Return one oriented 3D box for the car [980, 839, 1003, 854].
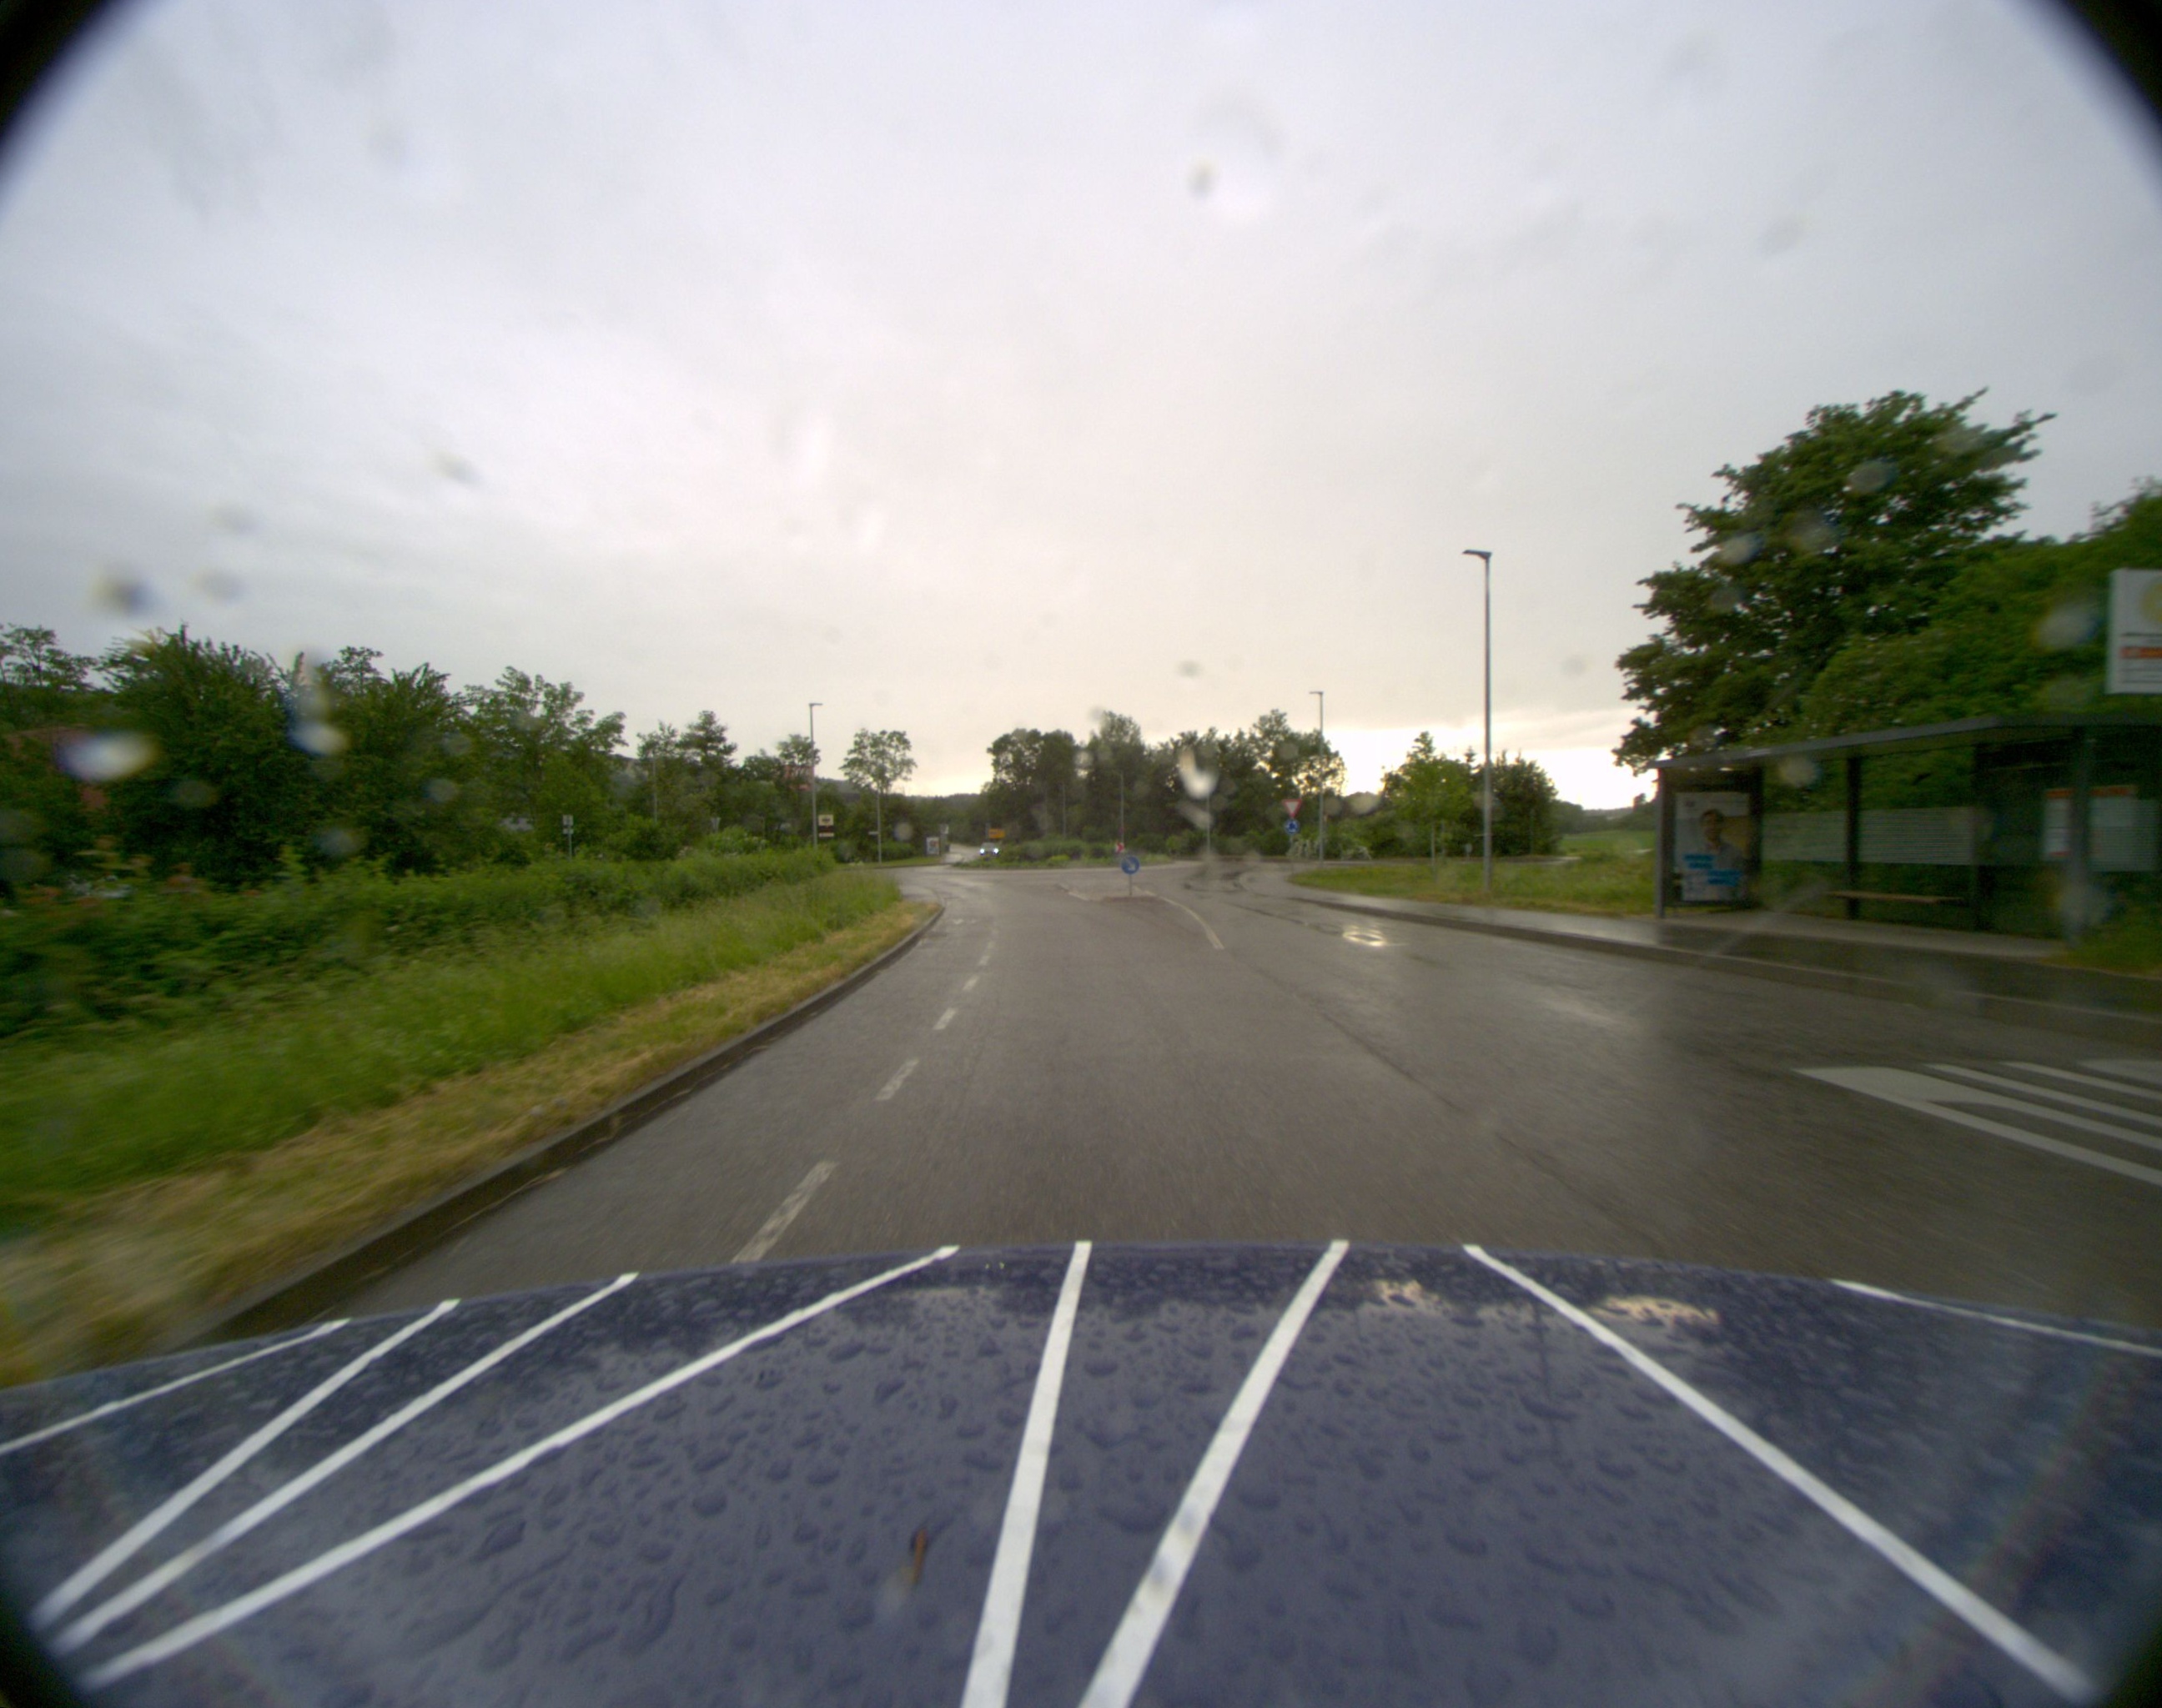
[{"bbox_3d":[-9.232,-0.788,78.112,1.857,1.481,4.115,-2,2,-12],"label":"car"}]
